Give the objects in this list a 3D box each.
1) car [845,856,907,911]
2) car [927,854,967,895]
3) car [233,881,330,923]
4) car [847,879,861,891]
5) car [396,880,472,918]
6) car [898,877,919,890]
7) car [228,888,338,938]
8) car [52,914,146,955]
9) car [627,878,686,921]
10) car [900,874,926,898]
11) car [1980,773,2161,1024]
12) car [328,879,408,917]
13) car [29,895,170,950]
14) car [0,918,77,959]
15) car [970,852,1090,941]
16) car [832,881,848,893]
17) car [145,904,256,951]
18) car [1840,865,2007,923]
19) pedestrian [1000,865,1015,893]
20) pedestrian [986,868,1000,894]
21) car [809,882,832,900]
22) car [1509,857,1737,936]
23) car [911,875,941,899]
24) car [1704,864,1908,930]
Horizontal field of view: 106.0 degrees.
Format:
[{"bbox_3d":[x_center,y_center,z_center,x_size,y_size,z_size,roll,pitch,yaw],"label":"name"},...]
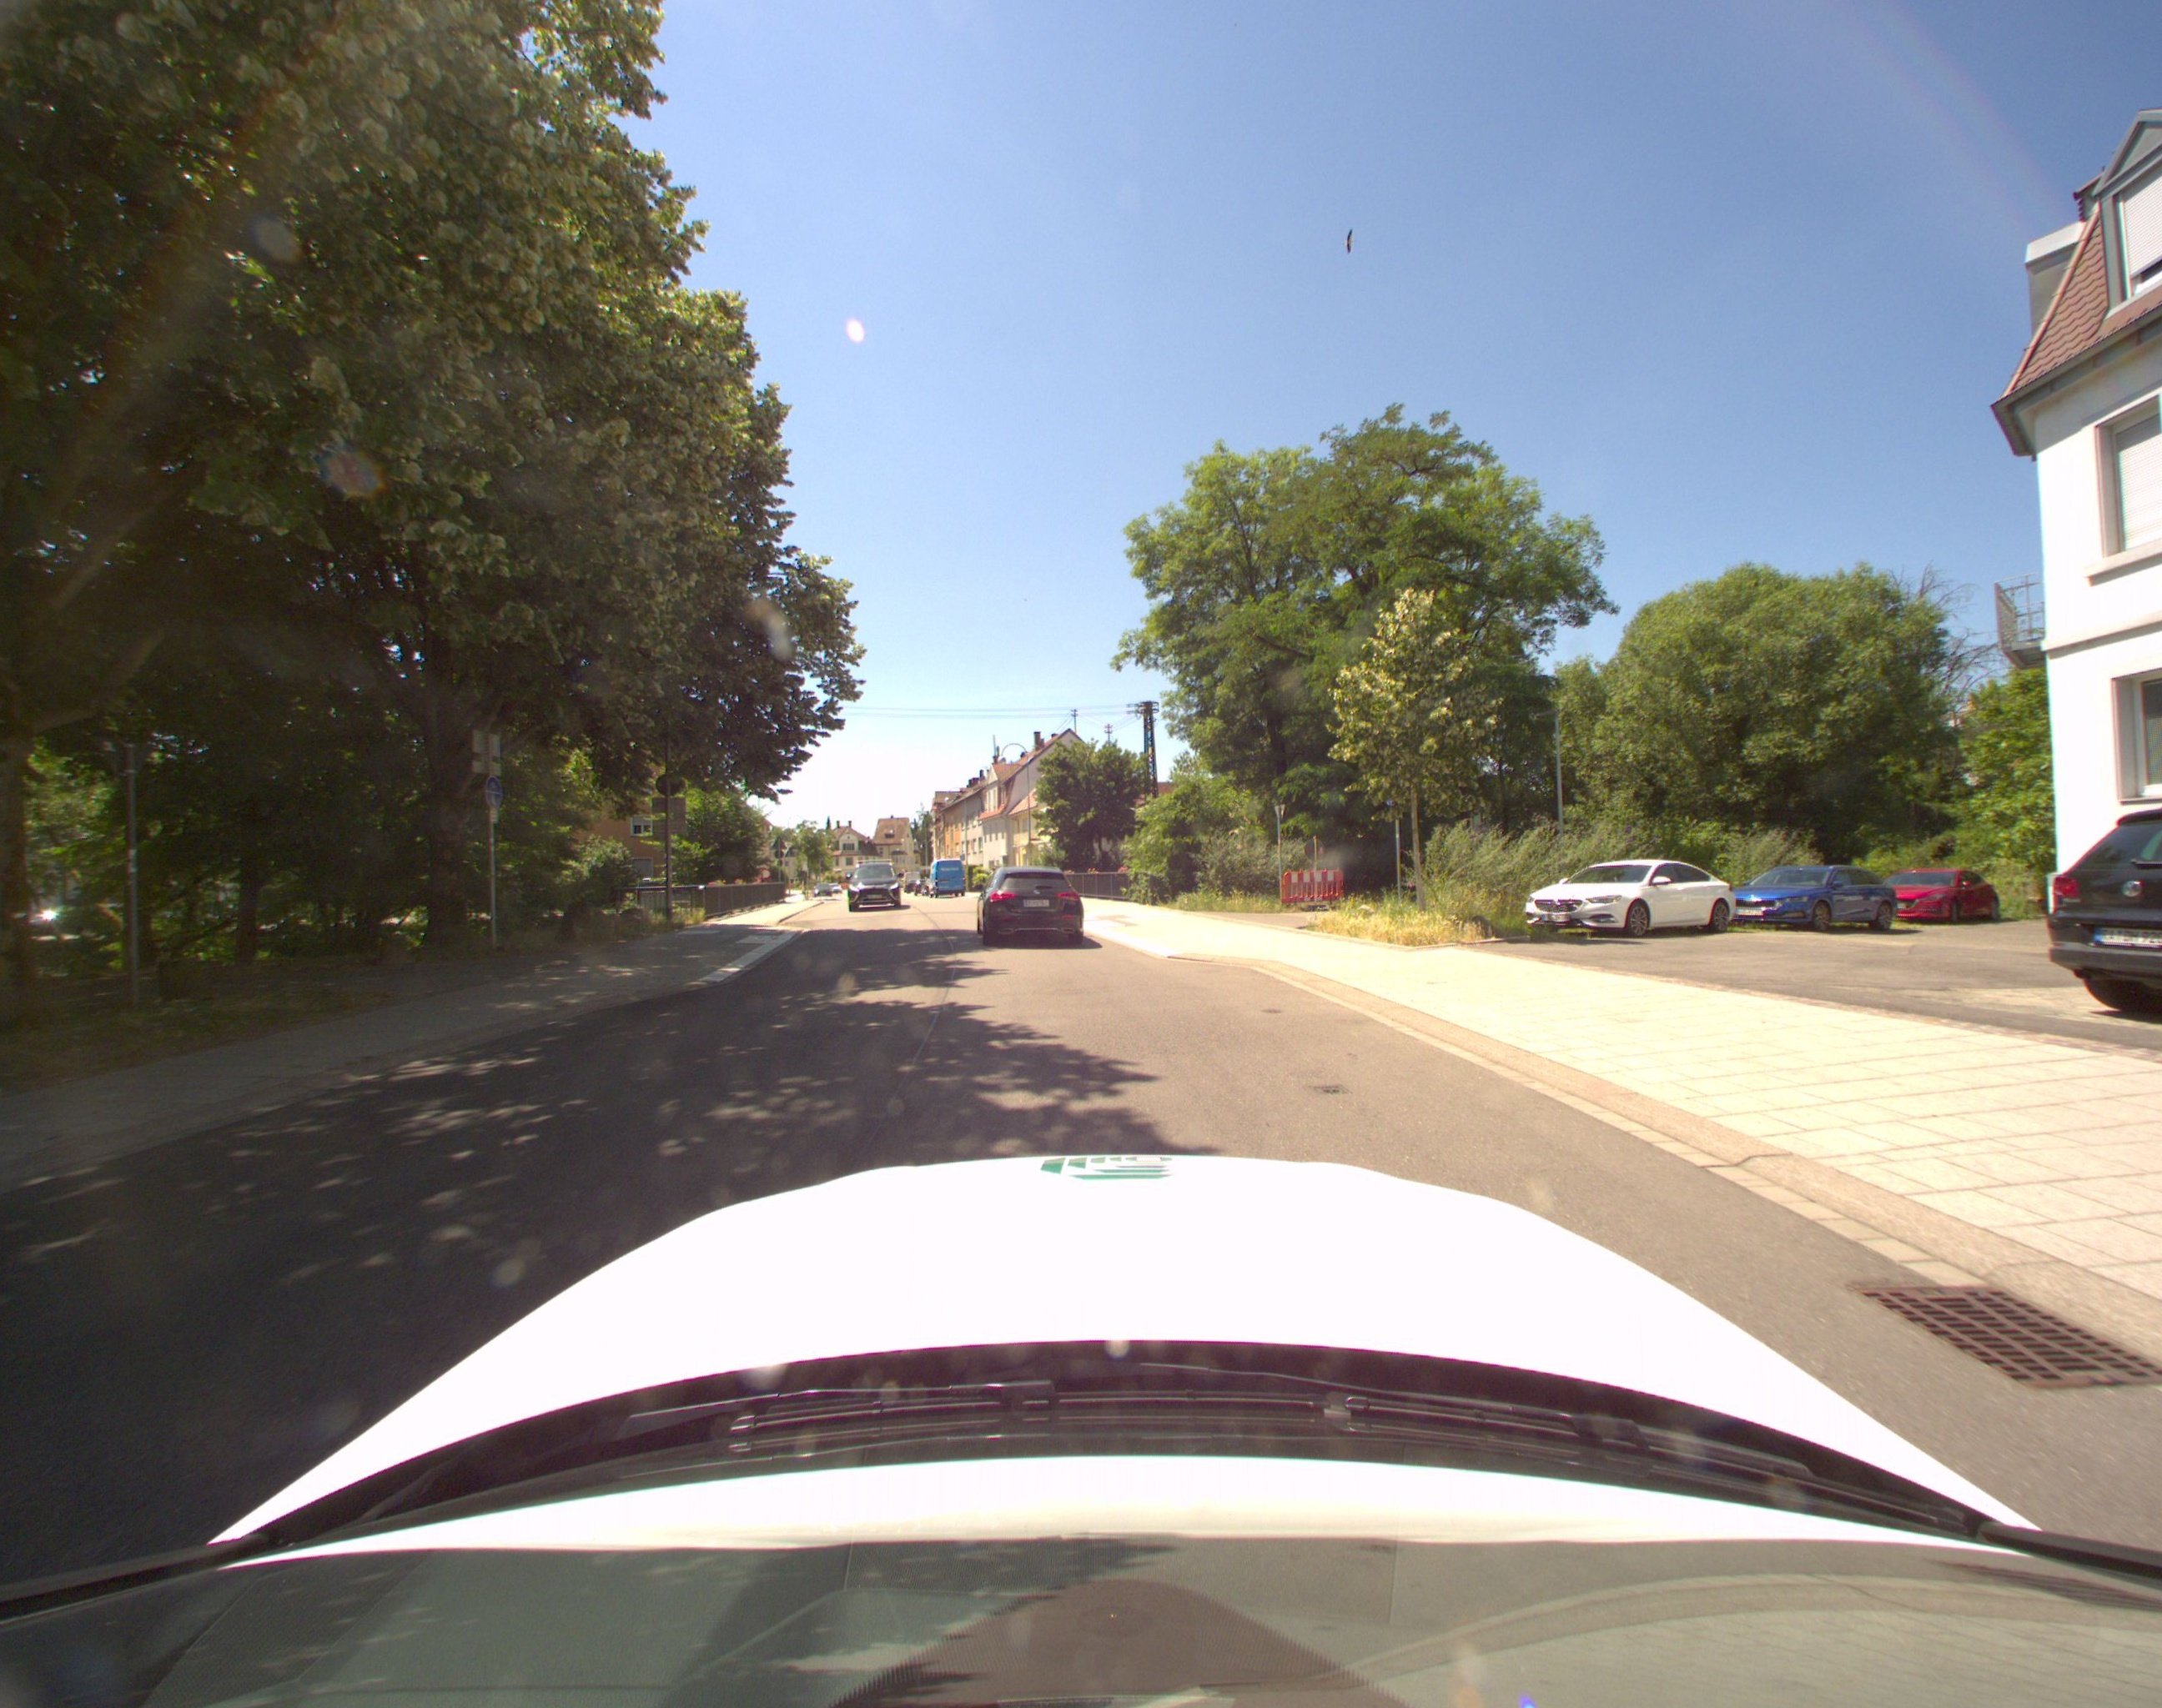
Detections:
[{"bbox_3d":[-7.386,1.022,29.647,1.741,1.772,4.323,-3,0,-10],"label":"car"},{"bbox_3d":[-9.025,1.371,54.502,2.137,2.541,4.624,-1,-2,-15],"label":"car"},{"bbox_3d":[-41.515,2.429,42.406,1.999,2.014,3.975,-1,-2,-18],"label":"car"},{"bbox_3d":[-33.036,4.460,118.612,1.997,1.660,3.978,1,-2,-15],"label":"car"},{"bbox_3d":[-37.641,2.579,47.523,1.996,2.014,3.980,-1,-1,-14],"label":"car"},{"bbox_3d":[-19.929,3.359,94.019,1.998,1.392,4.305,-1,0,-16],"label":"car"},{"bbox_3d":[-35.928,2.582,36.813,2.000,2.014,3.974,-1,-1,-19],"label":"car"},{"bbox_3d":[-49.980,4.063,41.550,2.008,1.684,3.957,-1,-1,-34],"label":"car"},{"bbox_3d":[-21.658,2.271,41.733,1.999,2.014,3.976,-1,0,-18],"label":"car"},{"bbox_3d":[-15.179,2.840,73.372,1.998,2.014,3.978,-1,0,-16],"label":"car"},{"bbox_3d":[9.447,0.302,5.651,4.052,1.716,1.860,0,-1,8],"label":"car"},{"bbox_3d":[-40.842,2.493,46.778,1.999,2.014,3.975,-1,-2,-18],"label":"car"},{"bbox_3d":[-41.904,2.847,34.926,1.999,2.014,3.975,-1,-1,-18],"label":"car"},{"bbox_3d":[-52.216,4.144,40.359,2.008,1.684,3.957,-1,-1,-34],"label":"car"},{"bbox_3d":[-1.121,0.844,15.812,1.828,1.442,3.984,-1,-3,-11],"label":"car"},{"bbox_3d":[-33.108,4.517,112.048,1.997,1.660,3.978,1,-2,-15],"label":"car"},{"bbox_3d":[-44.060,3.612,40.891,1.998,2.014,3.976,-1,-1,-17],"label":"car"},{"bbox_3d":[22.732,1.056,21.968,4.385,1.436,1.887,0,-3,-27],"label":"car"},{"bbox_3d":[-4.584,1.577,50.833,0.665,1.741,0.694,0,-2,-33],"label":"pedestrian"},{"bbox_3d":[-5.567,1.716,51.414,0.616,1.613,0.832,-1,-2,-21],"label":"pedestrian"},{"bbox_3d":[-25.978,3.685,81.268,1.997,1.660,3.978,1,-2,-15],"label":"car"},{"bbox_3d":[10.489,0.781,15.729,4.212,1.350,1.843,1,-3,-28],"label":"car"},{"bbox_3d":[-12.648,2.660,66.381,1.998,1.746,4.305,-1,0,-16],"label":"car"},{"bbox_3d":[16.467,0.944,18.498,4.208,1.350,1.845,0,-3,-24],"label":"car"}]
